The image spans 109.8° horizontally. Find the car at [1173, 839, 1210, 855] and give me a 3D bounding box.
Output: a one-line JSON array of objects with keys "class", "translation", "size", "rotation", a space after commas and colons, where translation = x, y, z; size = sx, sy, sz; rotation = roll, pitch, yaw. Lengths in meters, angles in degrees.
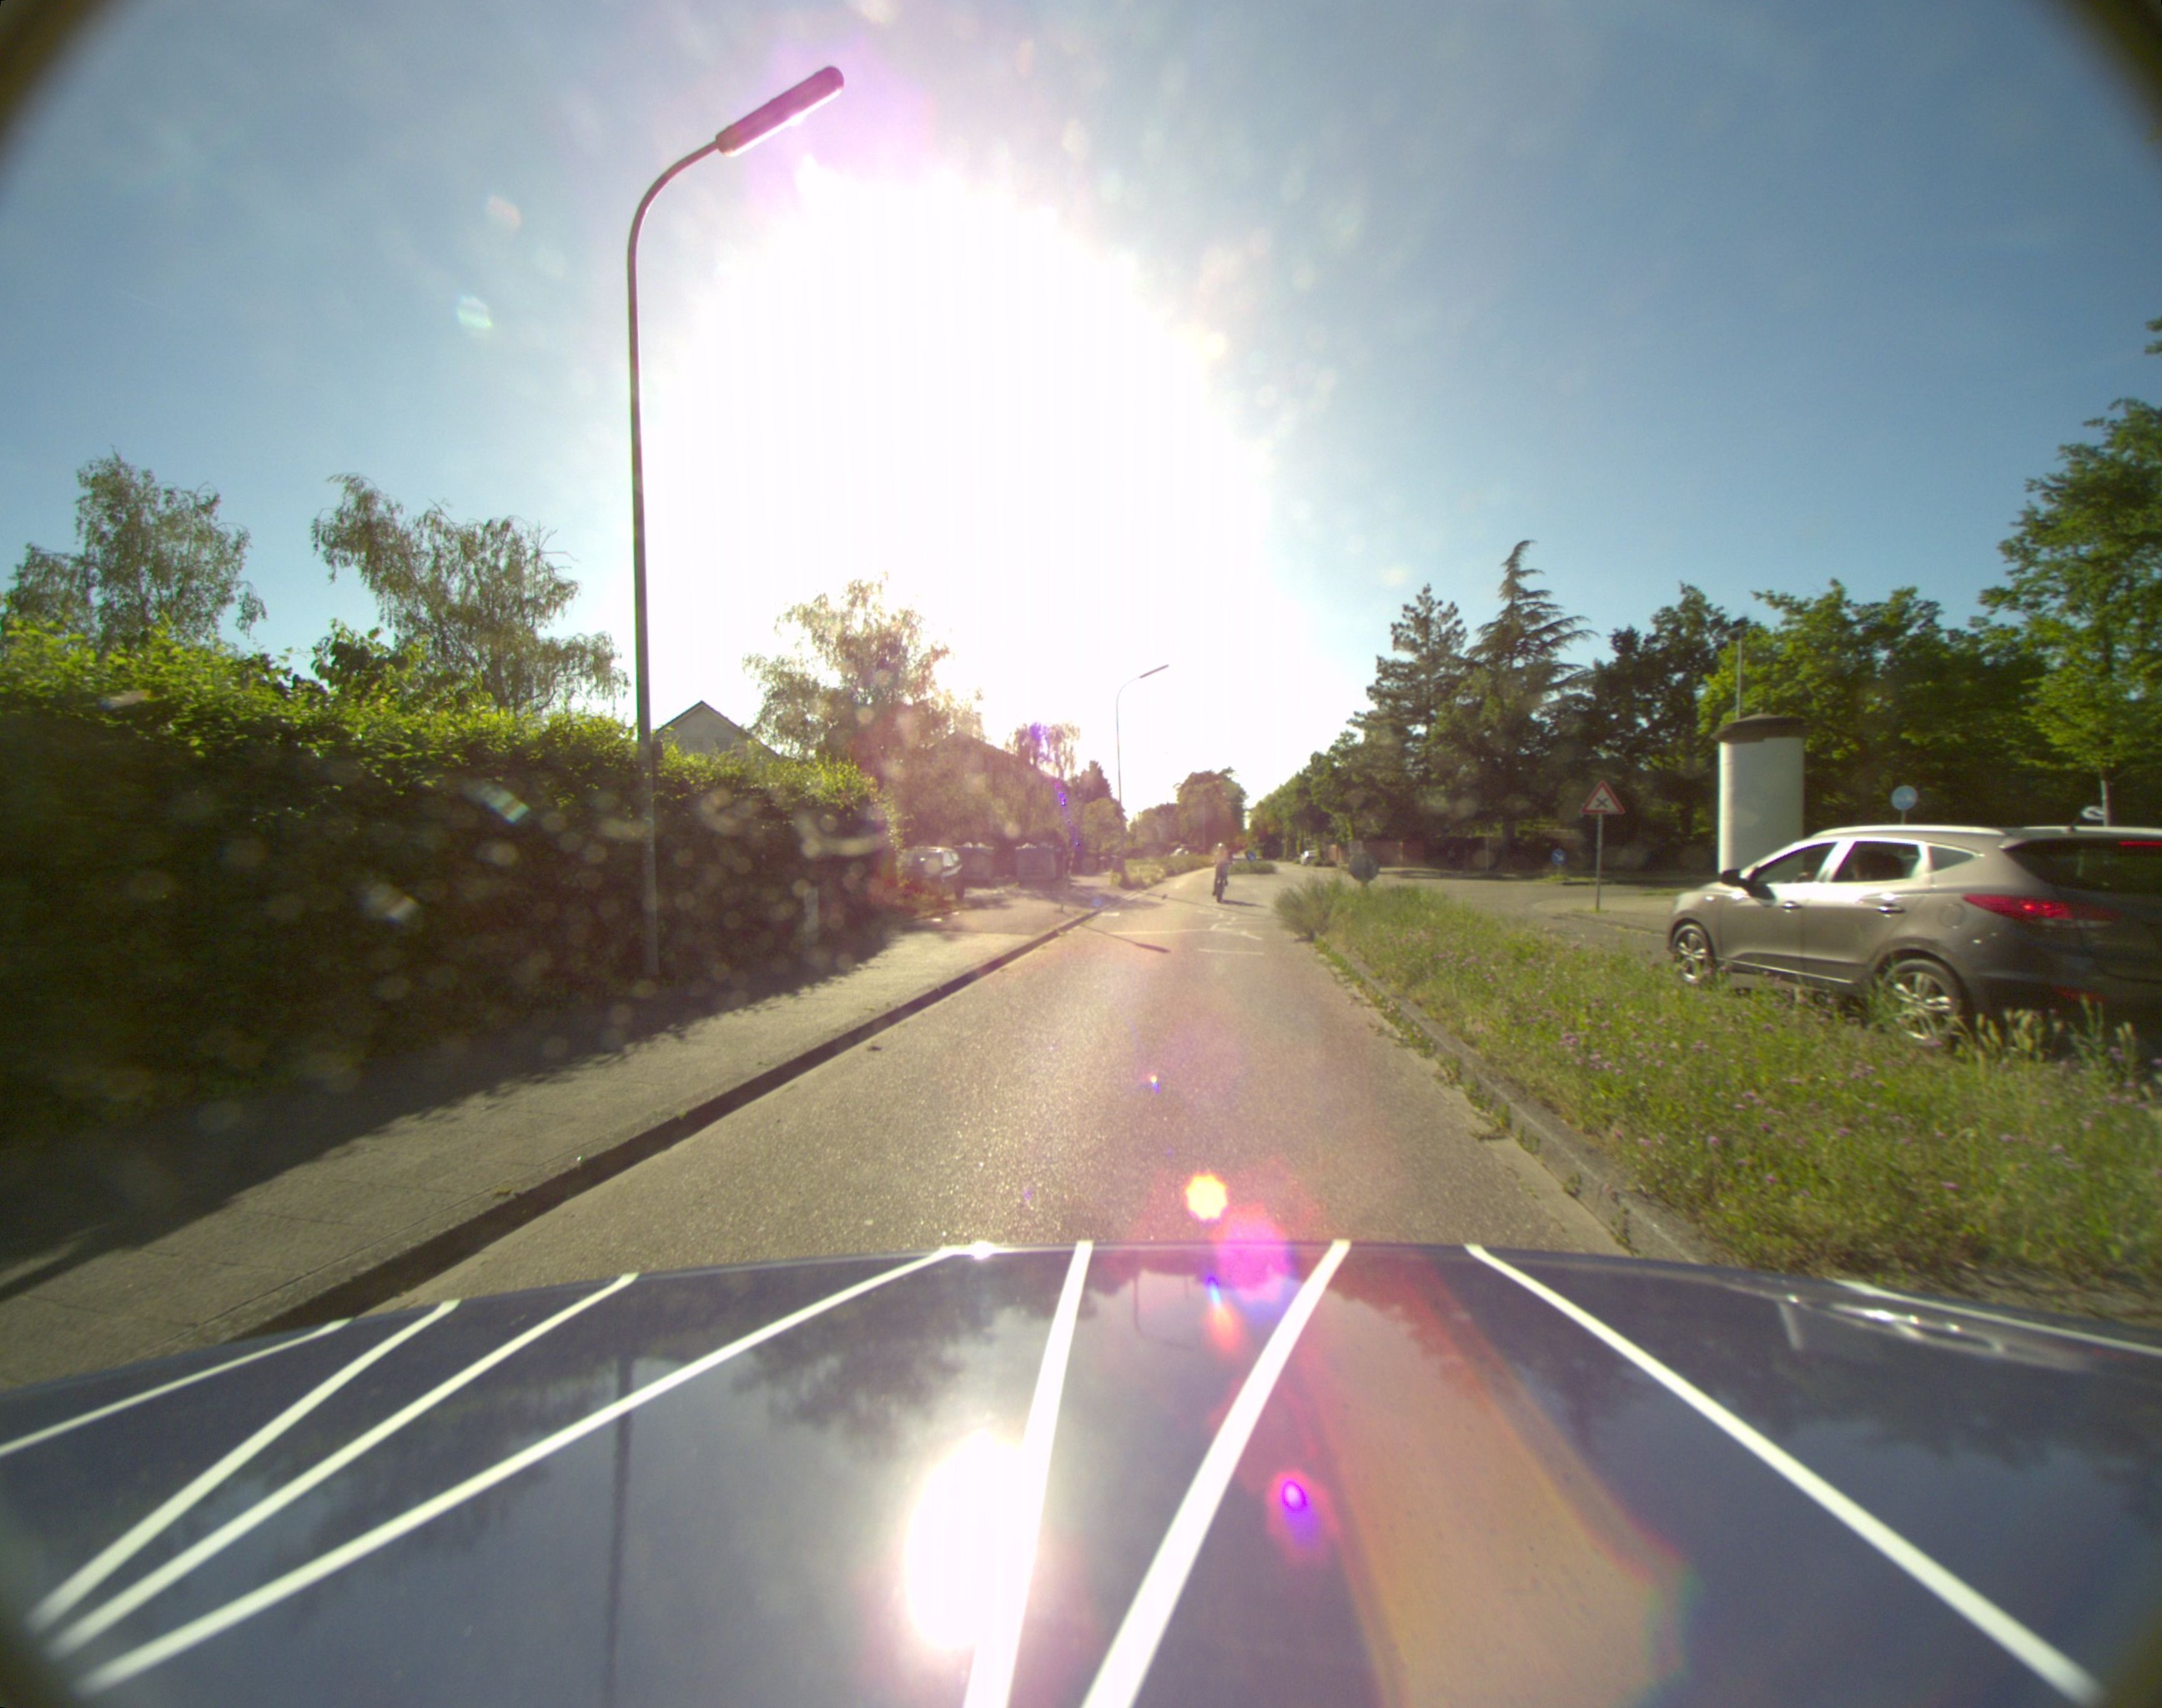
[{"class": "car", "translation": [11.995, -0.794, 82.437], "size": [3.655, 1.707, 1.745], "rotation": [-1, 1, -25]}]

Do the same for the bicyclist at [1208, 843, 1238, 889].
[{"class": "bicyclist", "translation": [4.243, 0.335, 22.635], "size": [0.637, 1.340, 0.840], "rotation": [0, 2, 28]}]

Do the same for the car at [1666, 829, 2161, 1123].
[{"class": "car", "translation": [7.155, 0.683, 6.332], "size": [1.916, 1.696, 4.188], "rotation": [1, 1, 11]}]

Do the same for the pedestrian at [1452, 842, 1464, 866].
[{"class": "pedestrian", "translation": [23.940, -0.019, 48.287], "size": [0.539, 1.512, 0.395], "rotation": [-1, 2, -13]}]

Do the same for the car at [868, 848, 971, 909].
[{"class": "car", "translation": [-4.147, 0.583, 20.053], "size": [1.702, 1.458, 3.535], "rotation": [1, 0, 4]}]

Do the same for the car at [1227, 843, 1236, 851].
[{"class": "car", "translation": [33.946, -1.533, 171.708], "size": [1.997, 1.805, 4.003], "rotation": [0, 1, 11]}]

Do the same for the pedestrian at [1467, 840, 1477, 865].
[{"class": "pedestrian", "translation": [24.626, -0.107, 47.854], "size": [0.395, 1.552, 0.539], "rotation": [0, 2, 14]}]

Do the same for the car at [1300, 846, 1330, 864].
[{"class": "car", "translation": [22.381, 0.047, 72.715], "size": [1.998, 1.649, 4.001], "rotation": [0, 1, 6]}]

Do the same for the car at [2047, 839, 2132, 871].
[{"class": "car", "translation": [57.889, 0.044, 43.634], "size": [3.803, 1.744, 1.499], "rotation": [0, 0, -12]}]

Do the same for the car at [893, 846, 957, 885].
[{"class": "car", "translation": [-6.108, 0.429, 30.192], "size": [1.633, 1.430, 4.066], "rotation": [0, 0, 1]}]

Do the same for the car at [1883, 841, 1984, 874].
[{"class": "car", "translation": [46.487, 0.185, 41.439], "size": [4.636, 1.739, 1.753], "rotation": [-1, 0, -15]}]

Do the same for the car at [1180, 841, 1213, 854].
[{"class": "car", "translation": [12.980, -0.774, 85.494], "size": [3.395, 1.433, 1.614], "rotation": [-1, 1, -11]}]

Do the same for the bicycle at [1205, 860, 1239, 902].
[{"class": "bicycle", "translation": [4.153, 0.780, 22.360], "size": [0.457, 1.138, 1.901], "rotation": [1, 1, 27]}]
